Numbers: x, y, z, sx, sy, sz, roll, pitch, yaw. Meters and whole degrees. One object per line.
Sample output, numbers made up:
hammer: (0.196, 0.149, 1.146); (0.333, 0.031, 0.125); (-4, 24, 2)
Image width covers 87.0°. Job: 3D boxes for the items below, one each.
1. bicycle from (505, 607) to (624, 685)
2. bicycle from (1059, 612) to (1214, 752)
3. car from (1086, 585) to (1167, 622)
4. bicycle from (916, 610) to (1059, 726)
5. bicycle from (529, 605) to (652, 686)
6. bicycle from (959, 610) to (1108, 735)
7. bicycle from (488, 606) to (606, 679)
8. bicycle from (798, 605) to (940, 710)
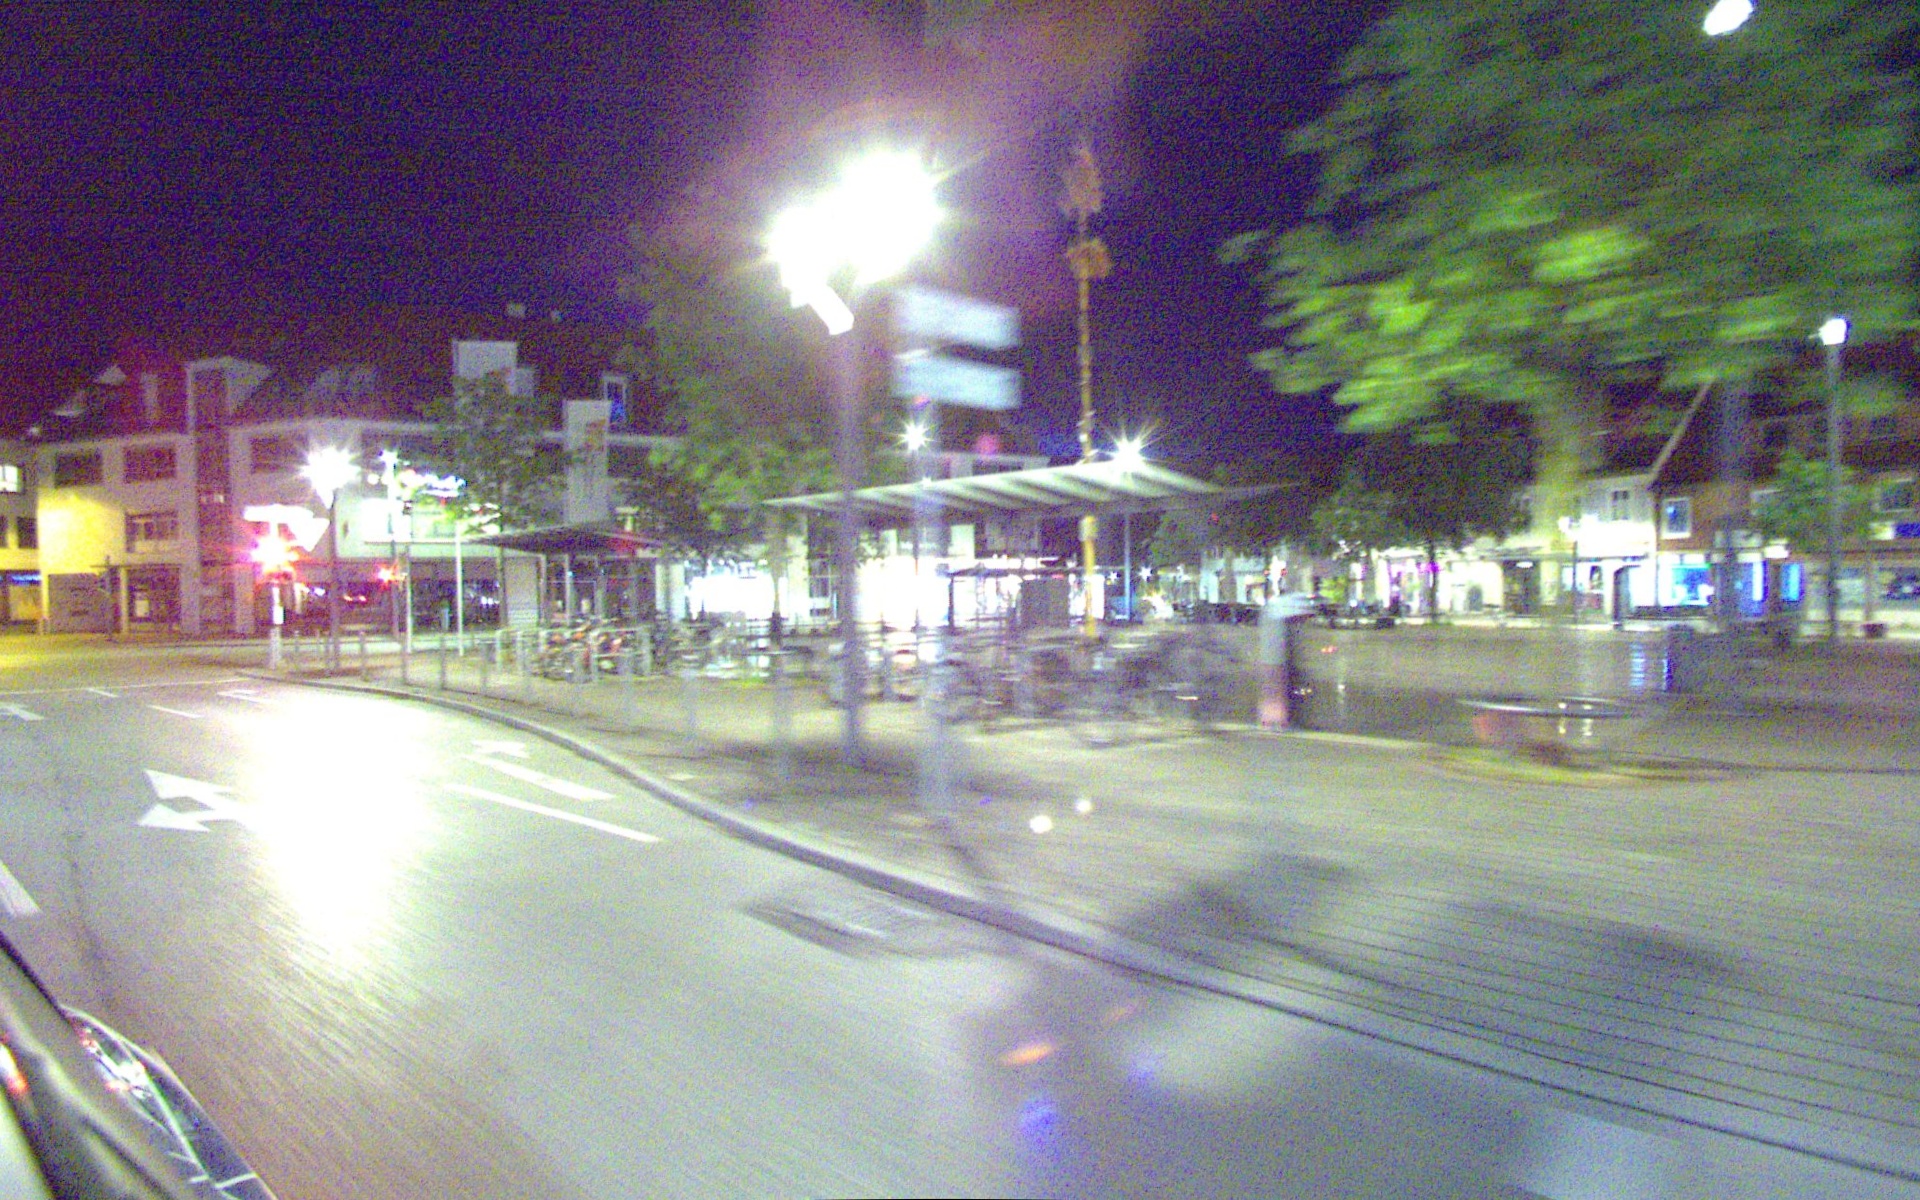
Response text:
bicycle: (-6.834, 0.763, 17.534); (1.715, 1.166, 0.788); (-5, 3, -44)
bicycle: (1.650, 0.696, 9.278); (0.670, 1.114, 1.599); (0, 1, 41)
car: (9.446, 0.192, 57.400); (4.344, 1.951, 1.966); (-1, -1, -34)
bicycle: (0.324, 0.684, 10.891); (0.670, 1.114, 1.599); (0, 1, 41)
bicycle: (-6.168, 0.735, 16.960); (1.715, 1.175, 0.788); (-5, 2, -44)
bicycle: (0.775, 0.684, 10.263); (0.670, 1.114, 1.599); (0, 1, 41)
bicycle: (-7.627, 0.762, 18.741); (1.812, 1.166, 0.788); (-5, 3, -44)
bicycle: (-1.084, 0.659, 12.422); (0.670, 1.173, 1.751); (-1, 0, 41)
